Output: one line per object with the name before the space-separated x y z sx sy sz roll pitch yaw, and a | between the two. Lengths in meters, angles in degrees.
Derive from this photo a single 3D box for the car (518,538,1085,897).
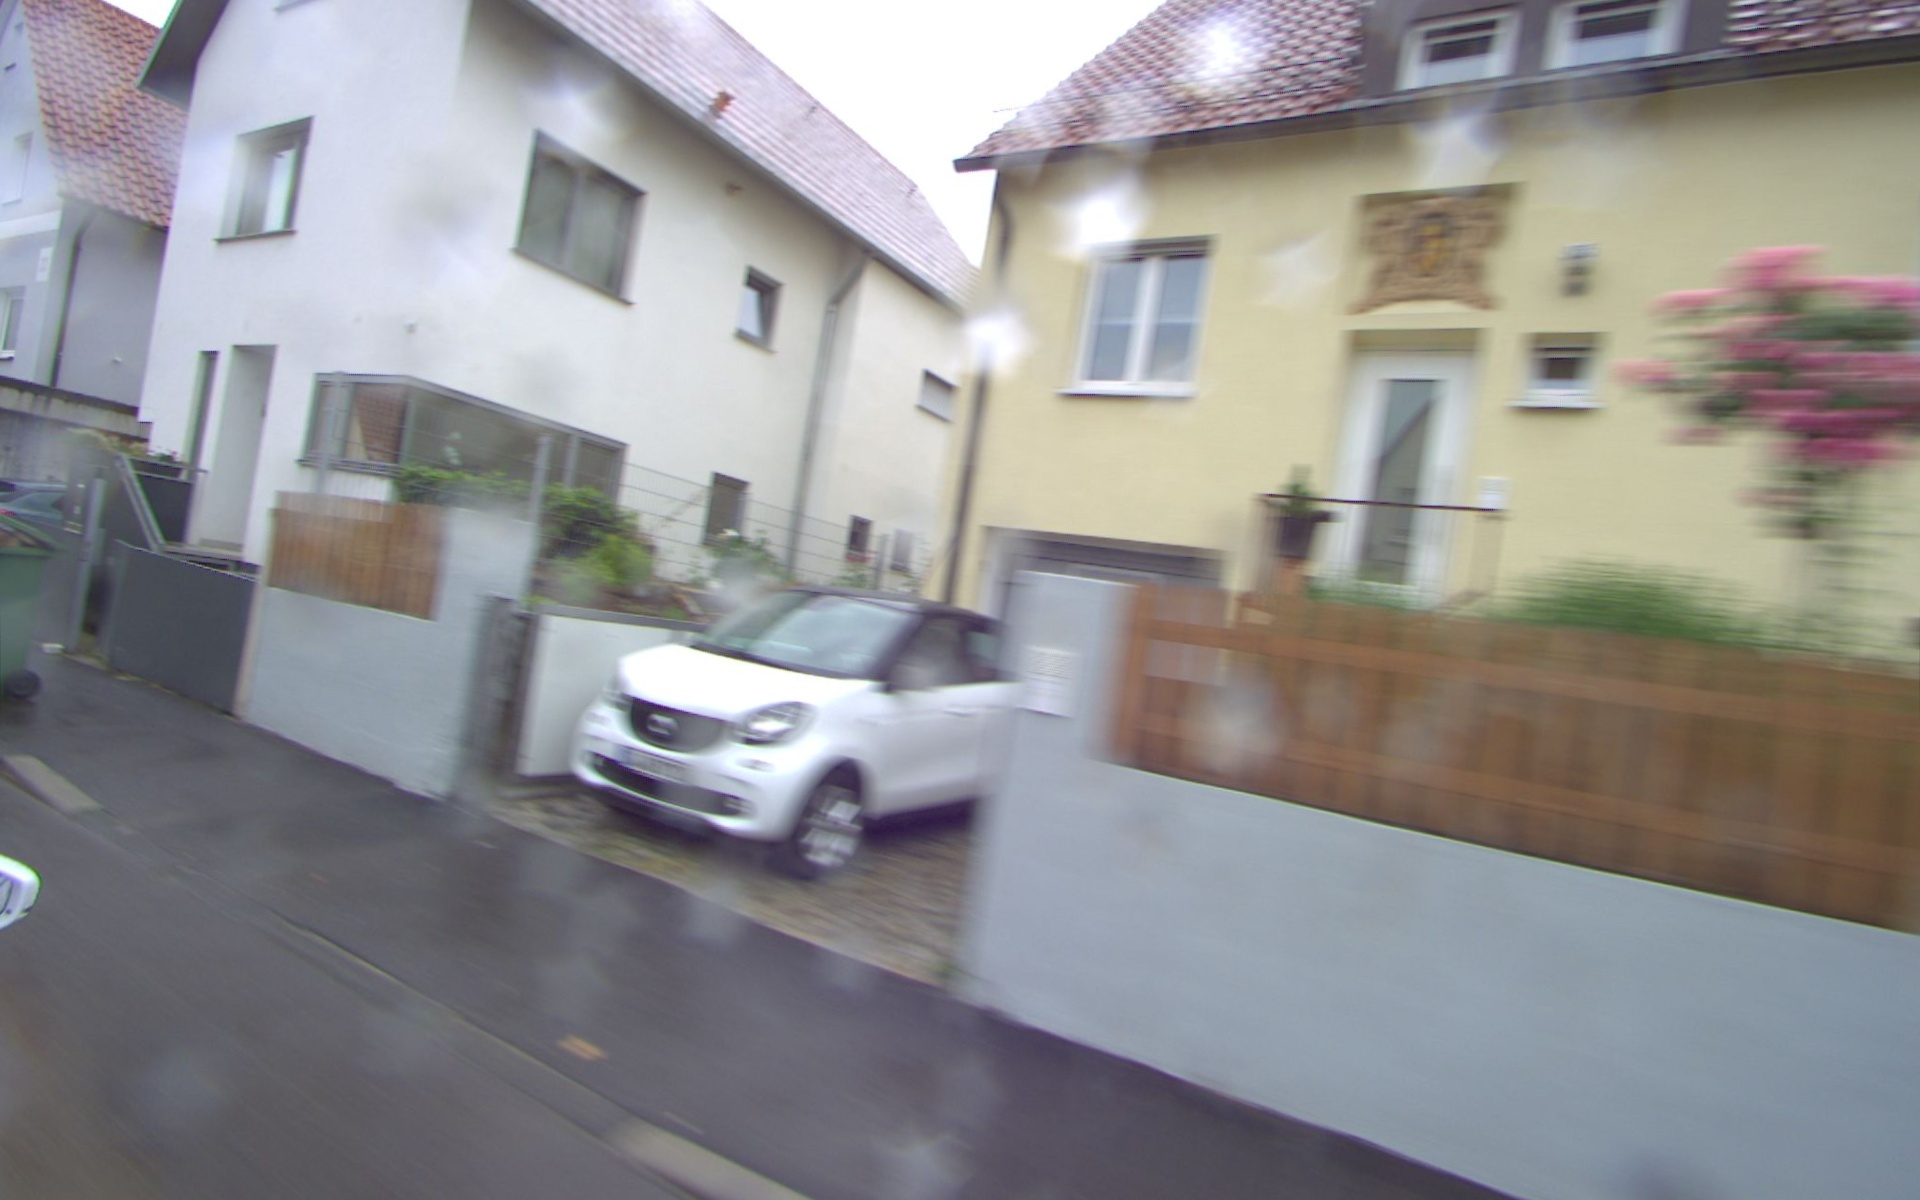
car | -0.752 0.683 6.654 1.710 1.540 3.501 8 -1 31

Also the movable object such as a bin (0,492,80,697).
movable object such as a bin | -6.663 -0.082 6.782 0.867 1.294 0.746 10 1 32

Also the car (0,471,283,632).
car | -11.541 -0.651 13.677 1.489 1.579 3.384 10 -2 31
